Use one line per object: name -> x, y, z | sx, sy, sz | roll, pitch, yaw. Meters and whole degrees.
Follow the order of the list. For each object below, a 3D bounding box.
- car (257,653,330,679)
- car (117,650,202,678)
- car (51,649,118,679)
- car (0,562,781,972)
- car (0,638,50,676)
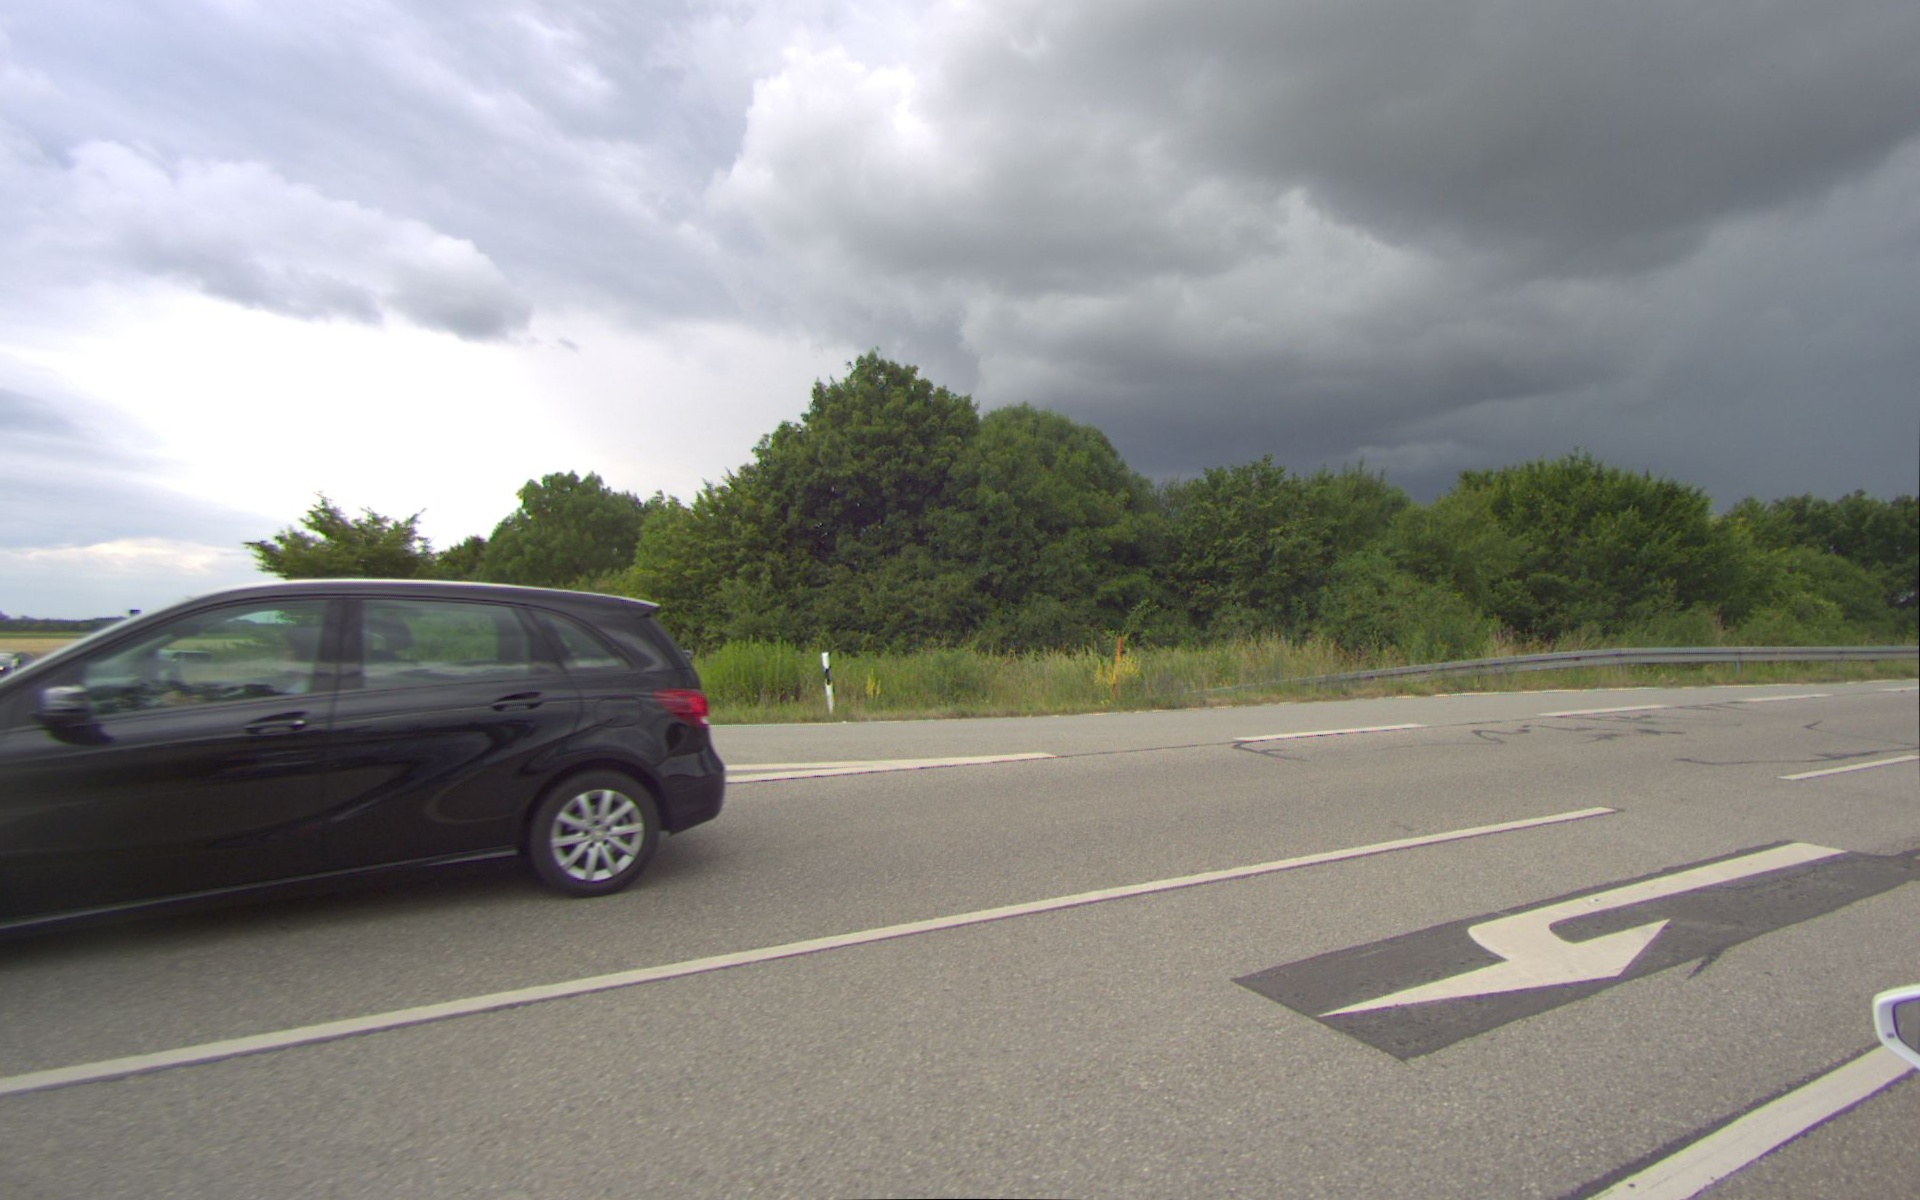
car -> -47.541, 4.704, 71.784 | 1.872, 1.703, 4.509 | 0, -1, 6
car -> -46.614, 3.705, 58.608 | 1.876, 1.502, 4.499 | 0, -1, -9
car -> -54.409, 3.965, 62.510 | 1.885, 1.703, 4.479 | 1, -2, -24
car -> -3.177, 0.647, 5.078 | 4.150, 1.551, 1.733 | 1, 0, -31
car -> -41.325, 2.419, 43.303 | 1.886, 1.502, 4.477 | 1, -2, -26
